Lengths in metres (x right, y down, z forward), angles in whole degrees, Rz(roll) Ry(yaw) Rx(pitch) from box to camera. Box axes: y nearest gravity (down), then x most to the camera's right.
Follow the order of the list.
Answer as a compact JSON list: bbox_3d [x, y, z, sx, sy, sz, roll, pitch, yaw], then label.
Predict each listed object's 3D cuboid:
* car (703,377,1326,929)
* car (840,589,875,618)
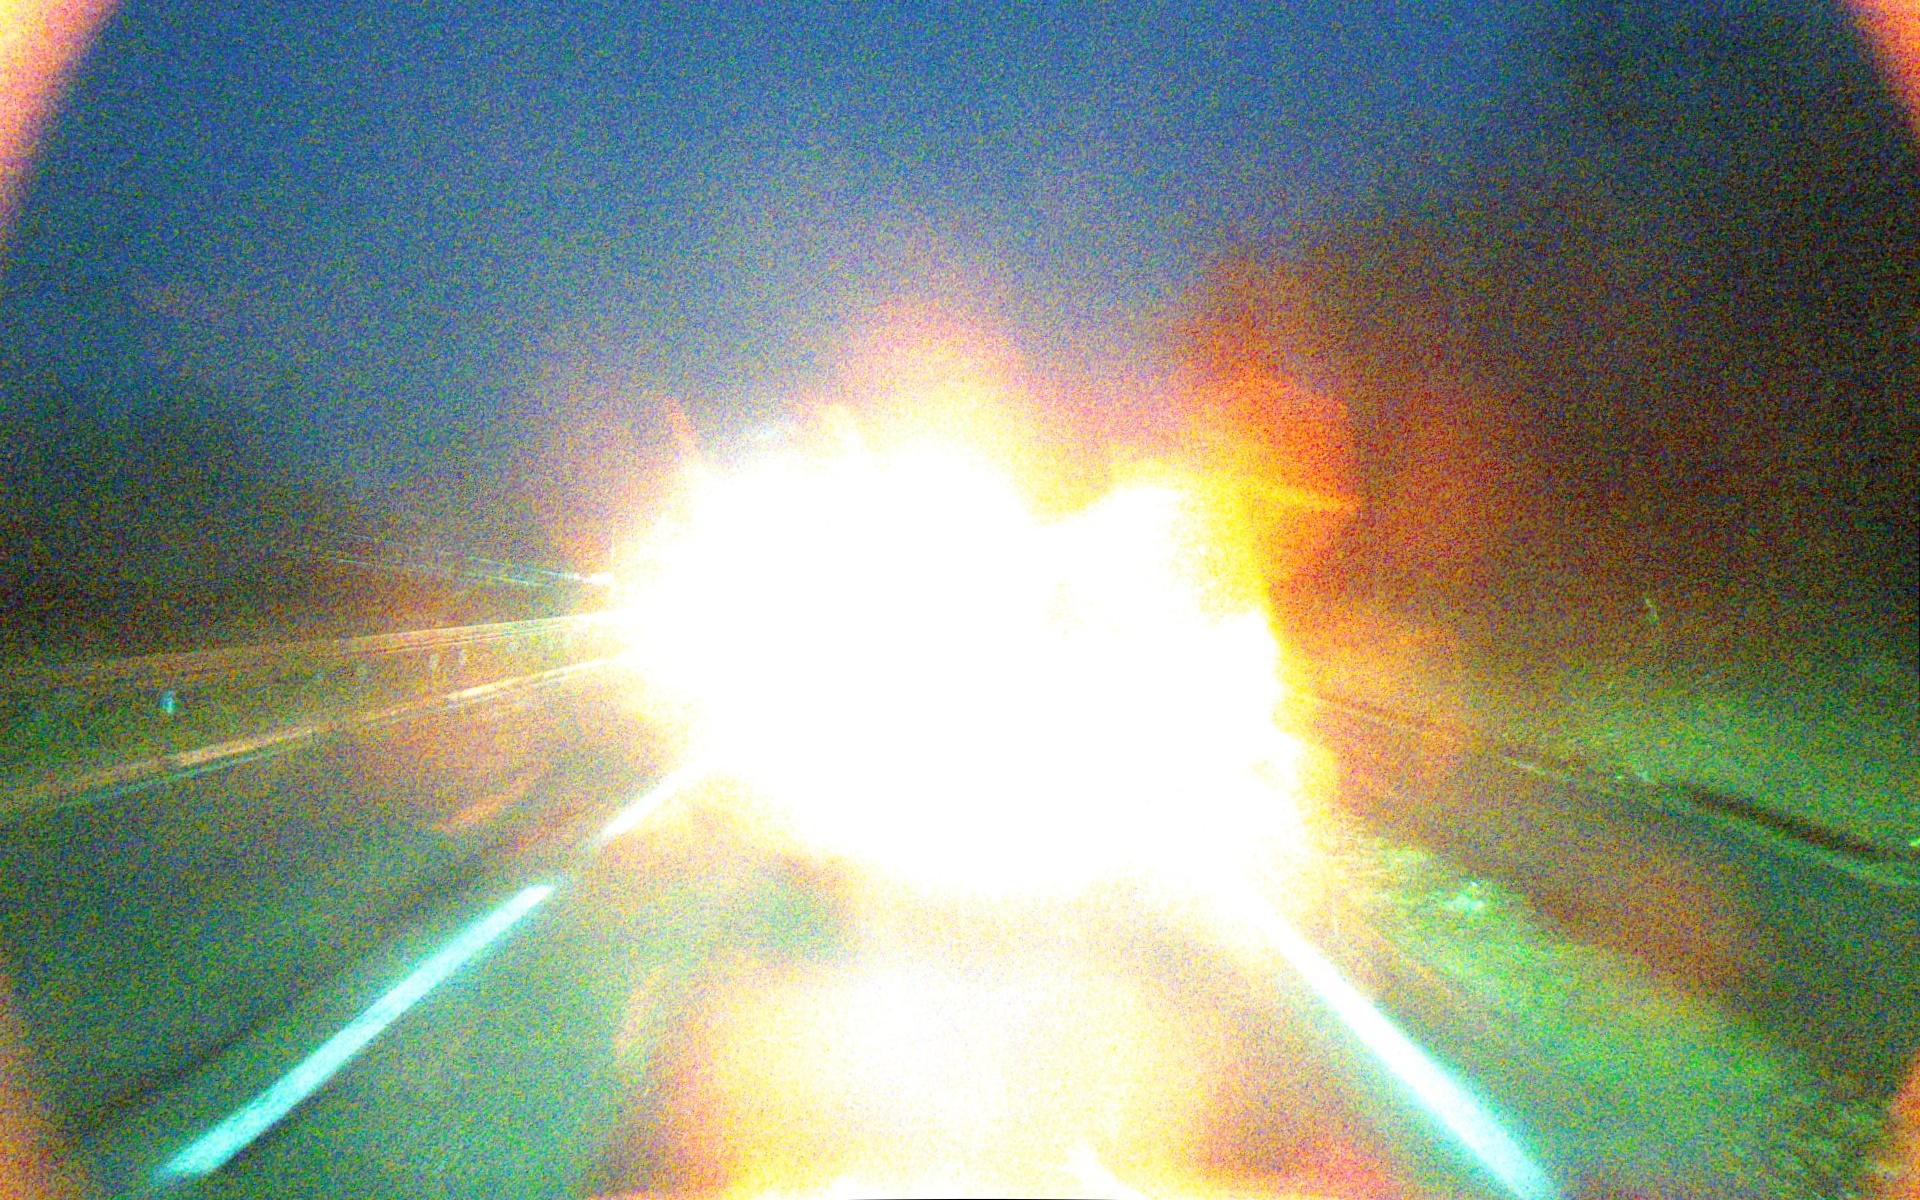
[{"bbox_3d":[0.190,0.204,10.167,2.660,2.348,6.099,1,1,-1],"label":"car"},{"bbox_3d":[-5.716,0.176,92.660,1.511,1.537,3.881,2,0,2],"label":"car"}]
